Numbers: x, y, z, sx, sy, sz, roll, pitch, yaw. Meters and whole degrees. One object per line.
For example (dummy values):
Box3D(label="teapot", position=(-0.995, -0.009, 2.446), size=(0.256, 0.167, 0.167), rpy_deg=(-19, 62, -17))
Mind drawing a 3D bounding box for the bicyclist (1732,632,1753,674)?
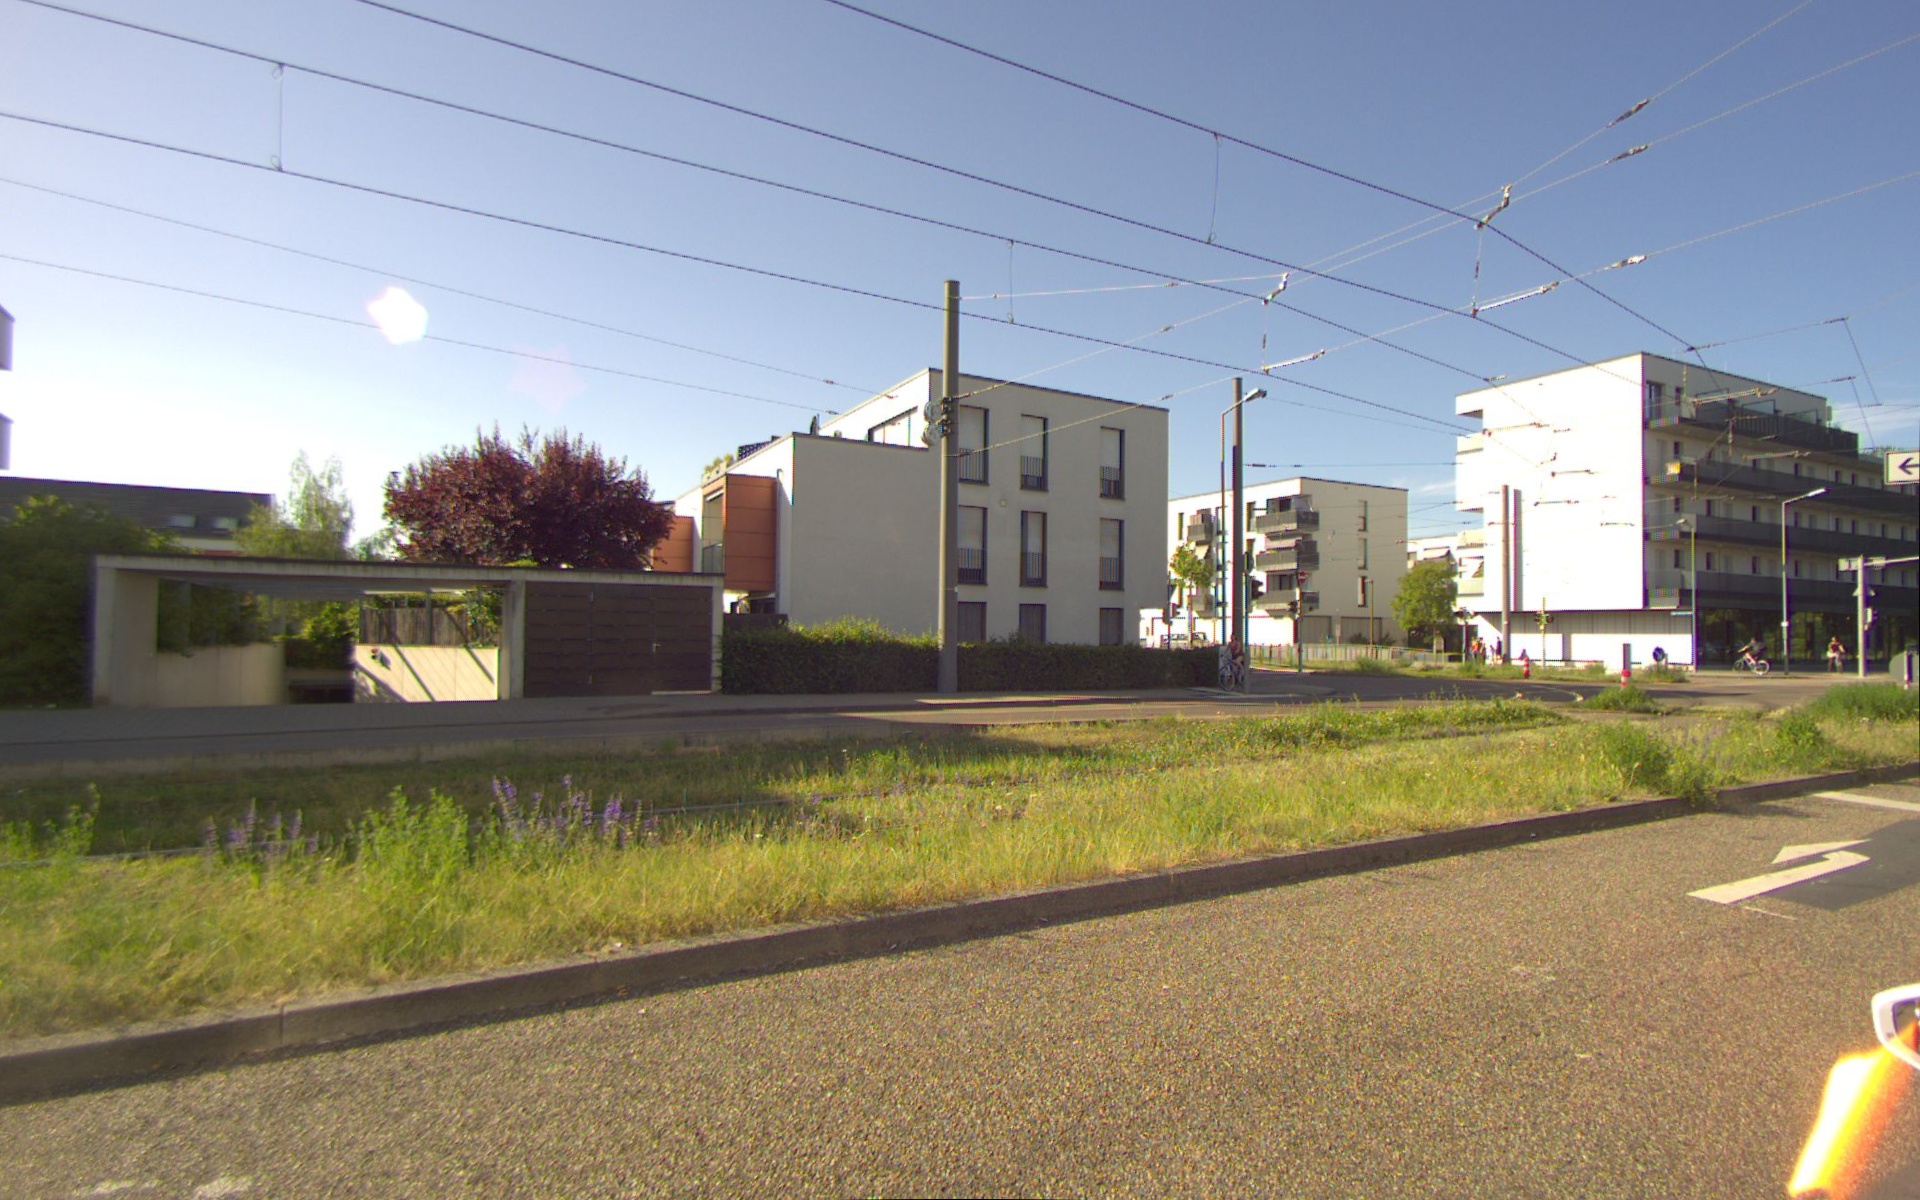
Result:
Box3D(label="bicyclist", position=(38.365, 2.600, 49.244), size=(0.782, 2.040, 0.808), rpy_deg=(-1, -2, 37))

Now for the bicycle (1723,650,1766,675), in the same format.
Box3D(label="bicycle", position=(38.407, 3.052, 49.206), size=(1.617, 1.159, 0.742), rpy_deg=(-1, -2, 37))

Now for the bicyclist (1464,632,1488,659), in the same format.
Box3D(label="bicyclist", position=(30.364, 2.675, 59.161), size=(0.900, 1.613, 0.891), rpy_deg=(1, -2, -21))

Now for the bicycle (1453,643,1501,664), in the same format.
Box3D(label="bicycle", position=(30.477, 3.137, 59.182), size=(2.783, 1.214, 0.899), rpy_deg=(1, -2, -21))

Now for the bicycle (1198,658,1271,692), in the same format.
Box3D(label="bicycle", position=(7.956, 2.144, 29.037), size=(2.466, 0.904, 0.891), rpy_deg=(2, -3, -43))

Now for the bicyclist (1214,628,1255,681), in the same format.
Box3D(label="bicyclist", position=(7.921, 1.571, 29.018), size=(0.740, 1.510, 0.881), rpy_deg=(2, -2, -42))

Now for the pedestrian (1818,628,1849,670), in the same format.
Box3D(label="pedestrian", position=(43.196, 2.423, 49.671), size=(0.752, 2.040, 0.972), rpy_deg=(1, -2, -32))
